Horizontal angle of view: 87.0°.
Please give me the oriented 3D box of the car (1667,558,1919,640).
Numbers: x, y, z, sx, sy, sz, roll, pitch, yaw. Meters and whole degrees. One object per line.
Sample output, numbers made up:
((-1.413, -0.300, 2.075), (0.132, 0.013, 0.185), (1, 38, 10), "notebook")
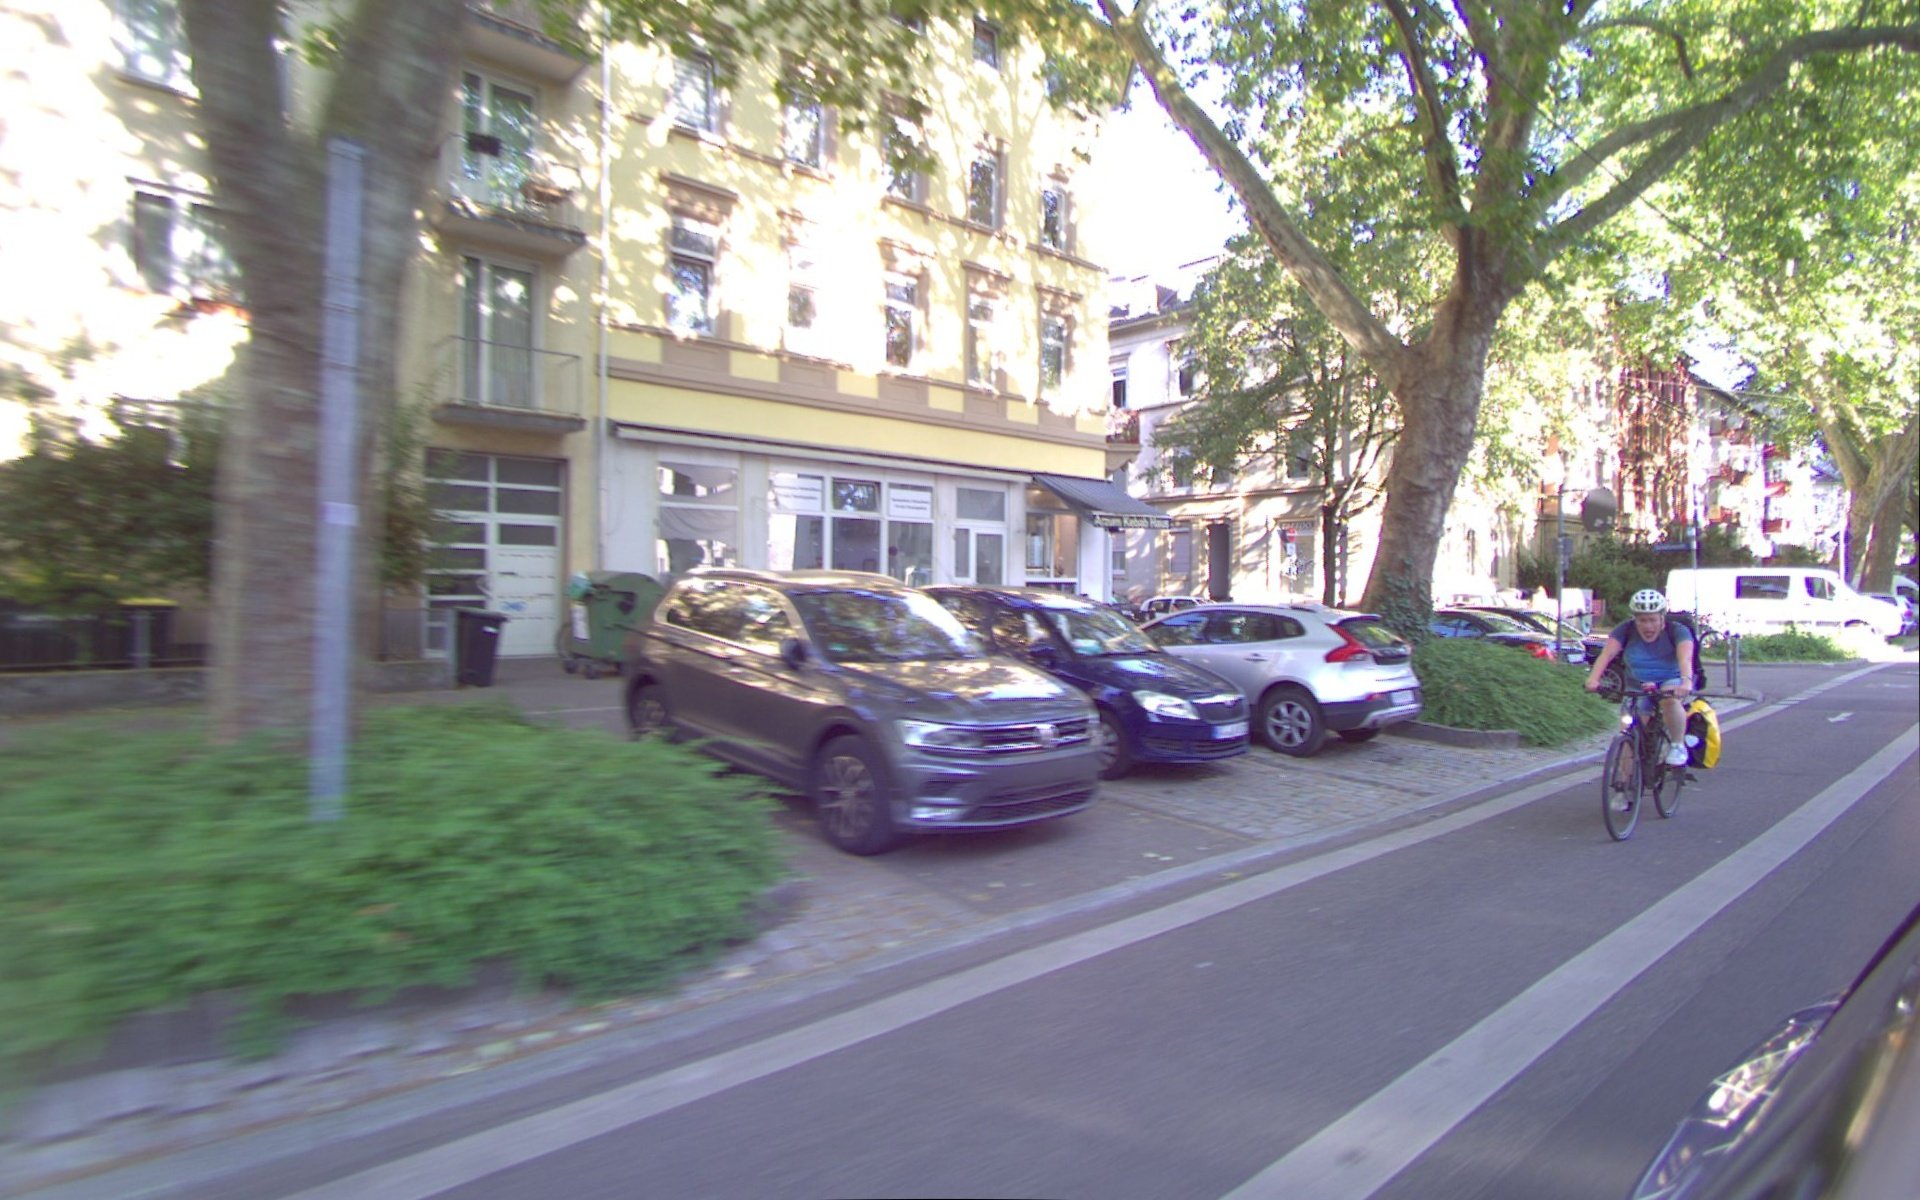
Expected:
((25.813, -0.075, 31.435), (1.970, 2.311, 6.006), (1, 0, -39), "car")

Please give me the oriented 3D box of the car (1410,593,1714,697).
((10.086, 0.658, 17.273), (1.795, 1.510, 4.112), (0, 1, -32), "car")

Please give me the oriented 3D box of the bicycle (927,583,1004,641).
((0.126, 0.255, 21.477), (1.715, 1.170, 0.470), (1, 2, -41), "bicycle")

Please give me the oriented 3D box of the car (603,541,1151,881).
((-0.884, 0.496, 7.541), (1.818, 1.740, 4.269), (0, 3, -43), "car")

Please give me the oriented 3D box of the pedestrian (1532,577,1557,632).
((18.234, 0.126, 31.592), (0.587, 1.672, 0.703), (0, 0, 23), "pedestrian")

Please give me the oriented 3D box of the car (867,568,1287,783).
((0.961, 0.542, 9.991), (1.653, 1.664, 4.033), (0, 2, -42), "car")

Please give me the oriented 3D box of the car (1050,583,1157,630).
((5.490, 0.216, 39.228), (1.820, 1.618, 3.999), (-3, 3, -36), "car")

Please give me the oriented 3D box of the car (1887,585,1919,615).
((57.583, 0.032, 59.756), (1.773, 1.767, 4.001), (0, 1, -40), "car")

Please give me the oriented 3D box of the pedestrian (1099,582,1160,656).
((3.222, 0.356, 19.309), (1.034, 1.392, 0.487), (0, 0, -10), "pedestrian")

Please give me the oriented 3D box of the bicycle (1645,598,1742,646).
((19.249, 0.562, 26.601), (0.405, 1.193, 2.050), (-1, 1, -32), "bicycle")

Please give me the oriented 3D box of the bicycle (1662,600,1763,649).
((19.175, 0.603, 25.834), (0.405, 1.193, 2.050), (-1, 1, -32), "bicycle")

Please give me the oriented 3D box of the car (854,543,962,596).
((-1.899, -1.037, 35.638), (1.625, 1.679, 4.140), (2, -1, -39), "car")

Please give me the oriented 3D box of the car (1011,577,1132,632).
((3.518, 0.133, 32.356), (1.662, 1.637, 3.682), (2, -1, -41), "car")

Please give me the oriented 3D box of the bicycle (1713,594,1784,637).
((23.616, 0.446, 30.367), (0.405, 1.193, 2.050), (-1, 1, -4), "bicycle")

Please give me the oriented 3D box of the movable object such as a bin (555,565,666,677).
((-4.886, 0.260, 14.131), (1.098, 1.455, 1.169), (0, 2, -41), "movable object such as a bin")

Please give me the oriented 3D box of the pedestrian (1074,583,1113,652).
((2.653, 0.339, 20.120), (0.673, 1.345, 0.487), (0, 0, -4), "pedestrian")

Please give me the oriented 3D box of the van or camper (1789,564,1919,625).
((39.650, -0.265, 43.446), (2.071, 2.522, 6.043), (0, 1, -41), "van or camper")

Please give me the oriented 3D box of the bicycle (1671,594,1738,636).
((22.438, 0.438, 30.535), (0.405, 1.193, 2.050), (-1, 1, -4), "bicycle")

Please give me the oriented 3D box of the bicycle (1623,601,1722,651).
((17.956, 0.630, 25.572), (0.405, 1.193, 2.050), (-1, 1, -32), "bicycle")

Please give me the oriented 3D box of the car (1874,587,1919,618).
((48.698, 0.158, 50.828), (1.659, 1.498, 3.961), (0, 2, -41), "car")

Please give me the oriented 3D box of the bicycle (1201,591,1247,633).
((9.271, 0.412, 35.510), (1.974, 1.333, 0.522), (-3, 1, -42), "bicycle")

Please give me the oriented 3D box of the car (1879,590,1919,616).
((55.586, 0.168, 58.424), (1.632, 1.514, 3.614), (0, 1, -42), "car")

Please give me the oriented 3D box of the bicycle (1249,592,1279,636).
((9.843, 0.441, 32.736), (0.503, 1.301, 1.888), (0, 2, 30), "bicycle")

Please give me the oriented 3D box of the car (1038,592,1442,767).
((2.950, 0.709, 11.243), (4.029, 1.498, 1.655), (2, 2, 44), "car")

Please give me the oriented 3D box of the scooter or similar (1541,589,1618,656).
((12.246, 0.421, 20.036), (0.334, 1.271, 1.313), (0, 0, -27), "scooter or similar")

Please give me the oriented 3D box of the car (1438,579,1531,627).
((17.633, 0.079, 33.965), (3.512, 1.473, 1.734), (-1, 3, -45), "car")

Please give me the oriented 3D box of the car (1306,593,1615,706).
((7.754, 0.660, 16.052), (1.649, 1.510, 4.110), (0, 1, -35), "car")

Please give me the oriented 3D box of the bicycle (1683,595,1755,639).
((21.699, 0.471, 28.979), (0.405, 1.193, 2.050), (-1, 1, -4), "bicycle")

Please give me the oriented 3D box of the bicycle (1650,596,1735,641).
((20.627, 0.511, 28.543), (0.404, 1.193, 2.053), (-1, 1, -20), "bicycle")

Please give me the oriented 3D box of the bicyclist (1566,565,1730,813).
((4.731, 0.580, 6.957), (0.919, 1.573, 0.615), (0, -4, -41), "bicyclist")

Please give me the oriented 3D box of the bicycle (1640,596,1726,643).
((19.669, 0.510, 27.587), (0.404, 1.193, 2.053), (-1, 1, -20), "bicycle")

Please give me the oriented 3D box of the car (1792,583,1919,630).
((34.870, 0.218, 39.170), (1.766, 1.676, 3.959), (-1, 2, -43), "car")

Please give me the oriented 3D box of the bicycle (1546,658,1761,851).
((4.854, 0.967, 6.994), (2.467, 1.017, 0.596), (0, -2, -41), "bicycle")

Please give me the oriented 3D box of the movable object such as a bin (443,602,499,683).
((-6.156, 0.522, 12.741), (0.457, 0.955, 0.749), (0, 2, -40), "movable object such as a bin")

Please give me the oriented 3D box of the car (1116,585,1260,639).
((6.460, 0.327, 28.901), (1.663, 1.430, 3.679), (3, -1, -44), "car")
